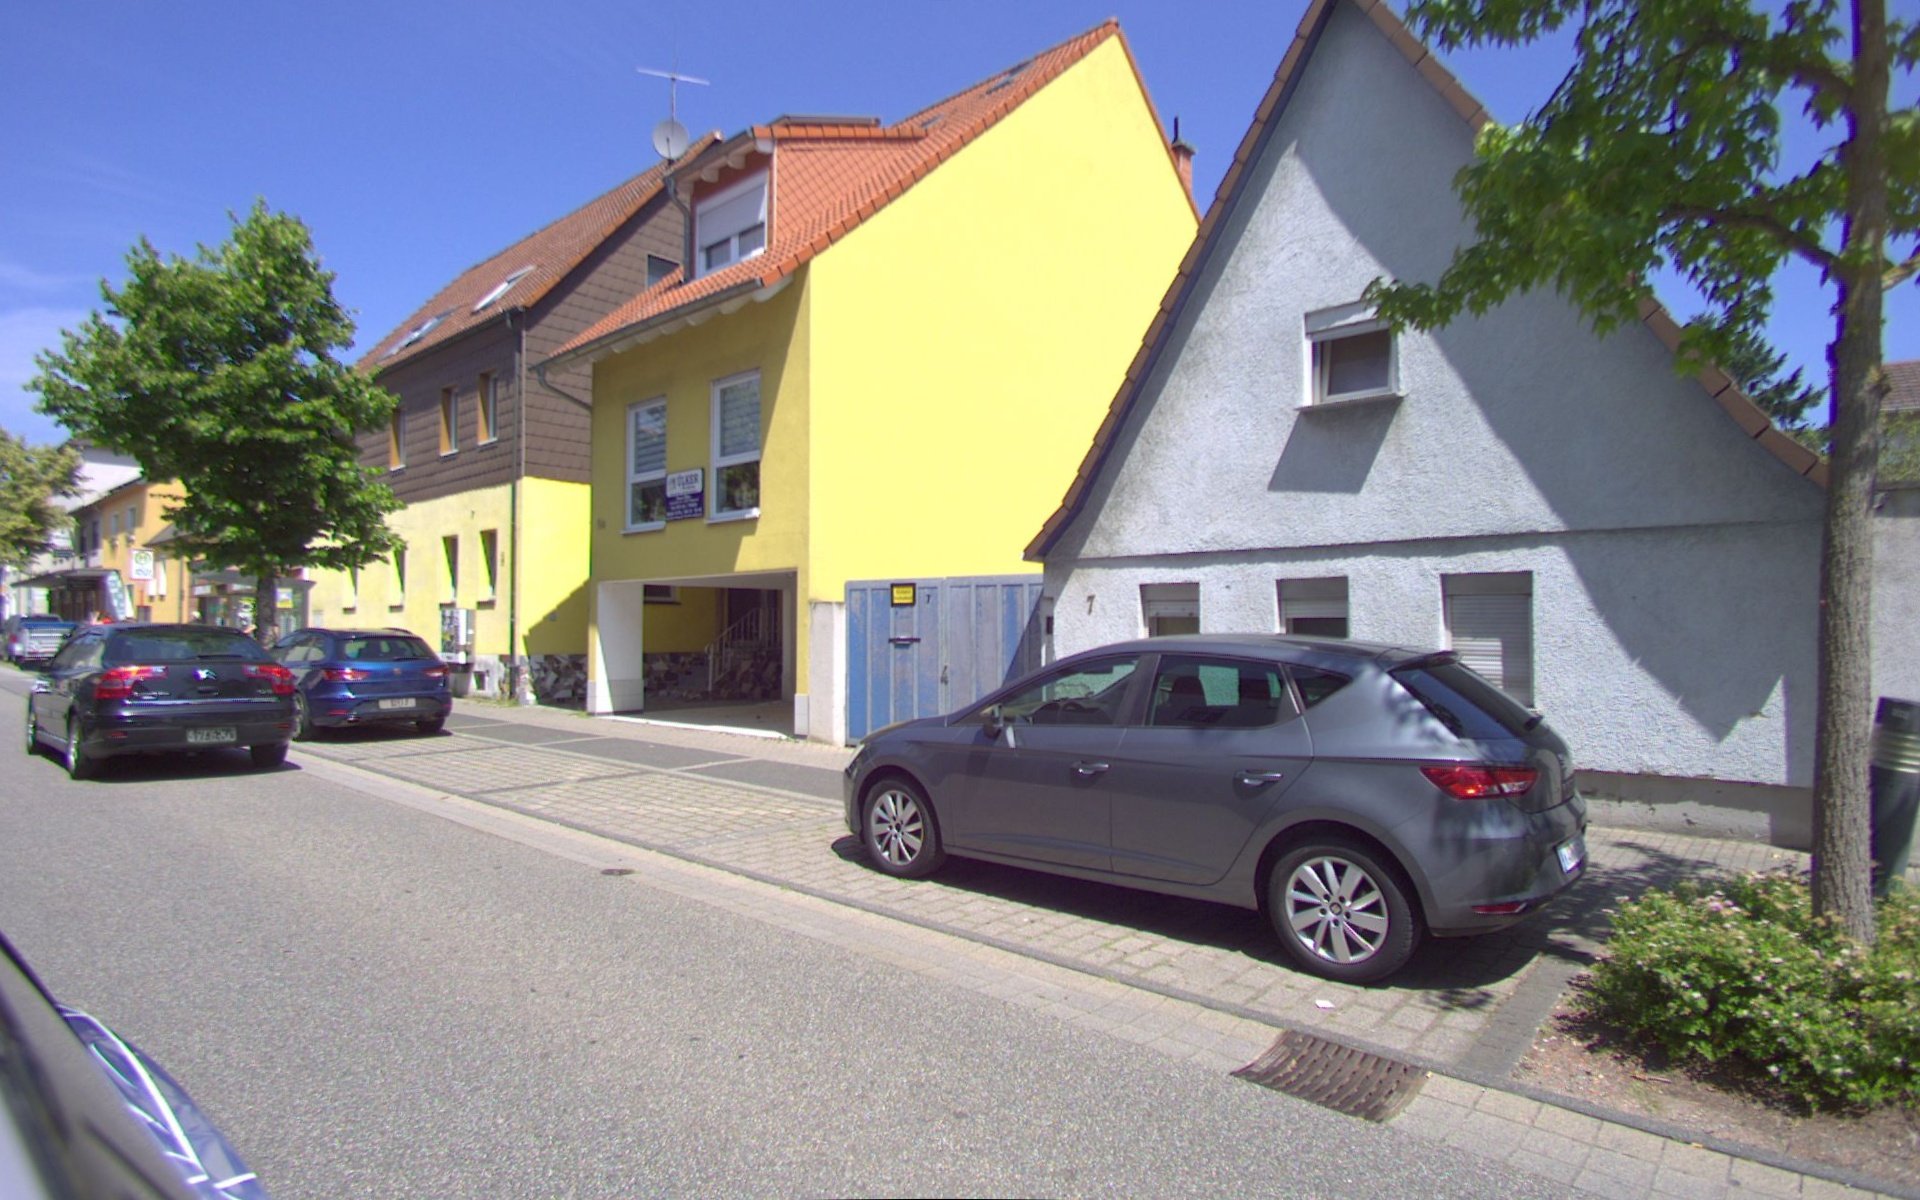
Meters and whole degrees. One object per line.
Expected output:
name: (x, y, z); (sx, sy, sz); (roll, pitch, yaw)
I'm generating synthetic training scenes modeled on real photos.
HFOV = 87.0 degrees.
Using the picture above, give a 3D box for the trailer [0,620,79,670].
trailer: (-32.333, 1.560, 35.514); (3.880, 1.593, 1.474); (-2, 0, 40)

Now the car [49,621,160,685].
car: (-23.025, 1.372, 27.194); (4.157, 1.587, 1.730); (-1, -2, 42)

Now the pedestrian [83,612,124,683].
pedestrian: (-20.513, 1.133, 24.242); (0.624, 1.668, 0.635); (-2, -3, 42)

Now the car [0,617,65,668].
car: (-35.430, 1.571, 38.337); (3.997, 1.765, 1.674); (-1, 0, 40)

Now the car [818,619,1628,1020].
car: (1.162, 0.843, 5.658); (4.097, 1.441, 1.628); (-1, -1, 42)

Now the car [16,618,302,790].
car: (-8.606, 0.965, 10.752); (3.998, 1.484, 1.671); (-1, -3, 41)

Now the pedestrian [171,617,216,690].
pedestrian: (-17.246, 1.188, 22.781); (0.770, 1.614, 0.654); (-2, -2, 42)

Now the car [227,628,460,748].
car: (-8.662, 1.107, 14.074); (4.157, 1.418, 1.638); (-1, -2, 42)

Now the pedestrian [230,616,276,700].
pedestrian: (-14.027, 1.138, 20.072); (0.528, 1.614, 0.623); (-2, -2, 42)

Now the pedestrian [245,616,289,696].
pedestrian: (-14.267, 1.136, 20.835); (0.528, 1.614, 0.623); (-2, -2, 42)
